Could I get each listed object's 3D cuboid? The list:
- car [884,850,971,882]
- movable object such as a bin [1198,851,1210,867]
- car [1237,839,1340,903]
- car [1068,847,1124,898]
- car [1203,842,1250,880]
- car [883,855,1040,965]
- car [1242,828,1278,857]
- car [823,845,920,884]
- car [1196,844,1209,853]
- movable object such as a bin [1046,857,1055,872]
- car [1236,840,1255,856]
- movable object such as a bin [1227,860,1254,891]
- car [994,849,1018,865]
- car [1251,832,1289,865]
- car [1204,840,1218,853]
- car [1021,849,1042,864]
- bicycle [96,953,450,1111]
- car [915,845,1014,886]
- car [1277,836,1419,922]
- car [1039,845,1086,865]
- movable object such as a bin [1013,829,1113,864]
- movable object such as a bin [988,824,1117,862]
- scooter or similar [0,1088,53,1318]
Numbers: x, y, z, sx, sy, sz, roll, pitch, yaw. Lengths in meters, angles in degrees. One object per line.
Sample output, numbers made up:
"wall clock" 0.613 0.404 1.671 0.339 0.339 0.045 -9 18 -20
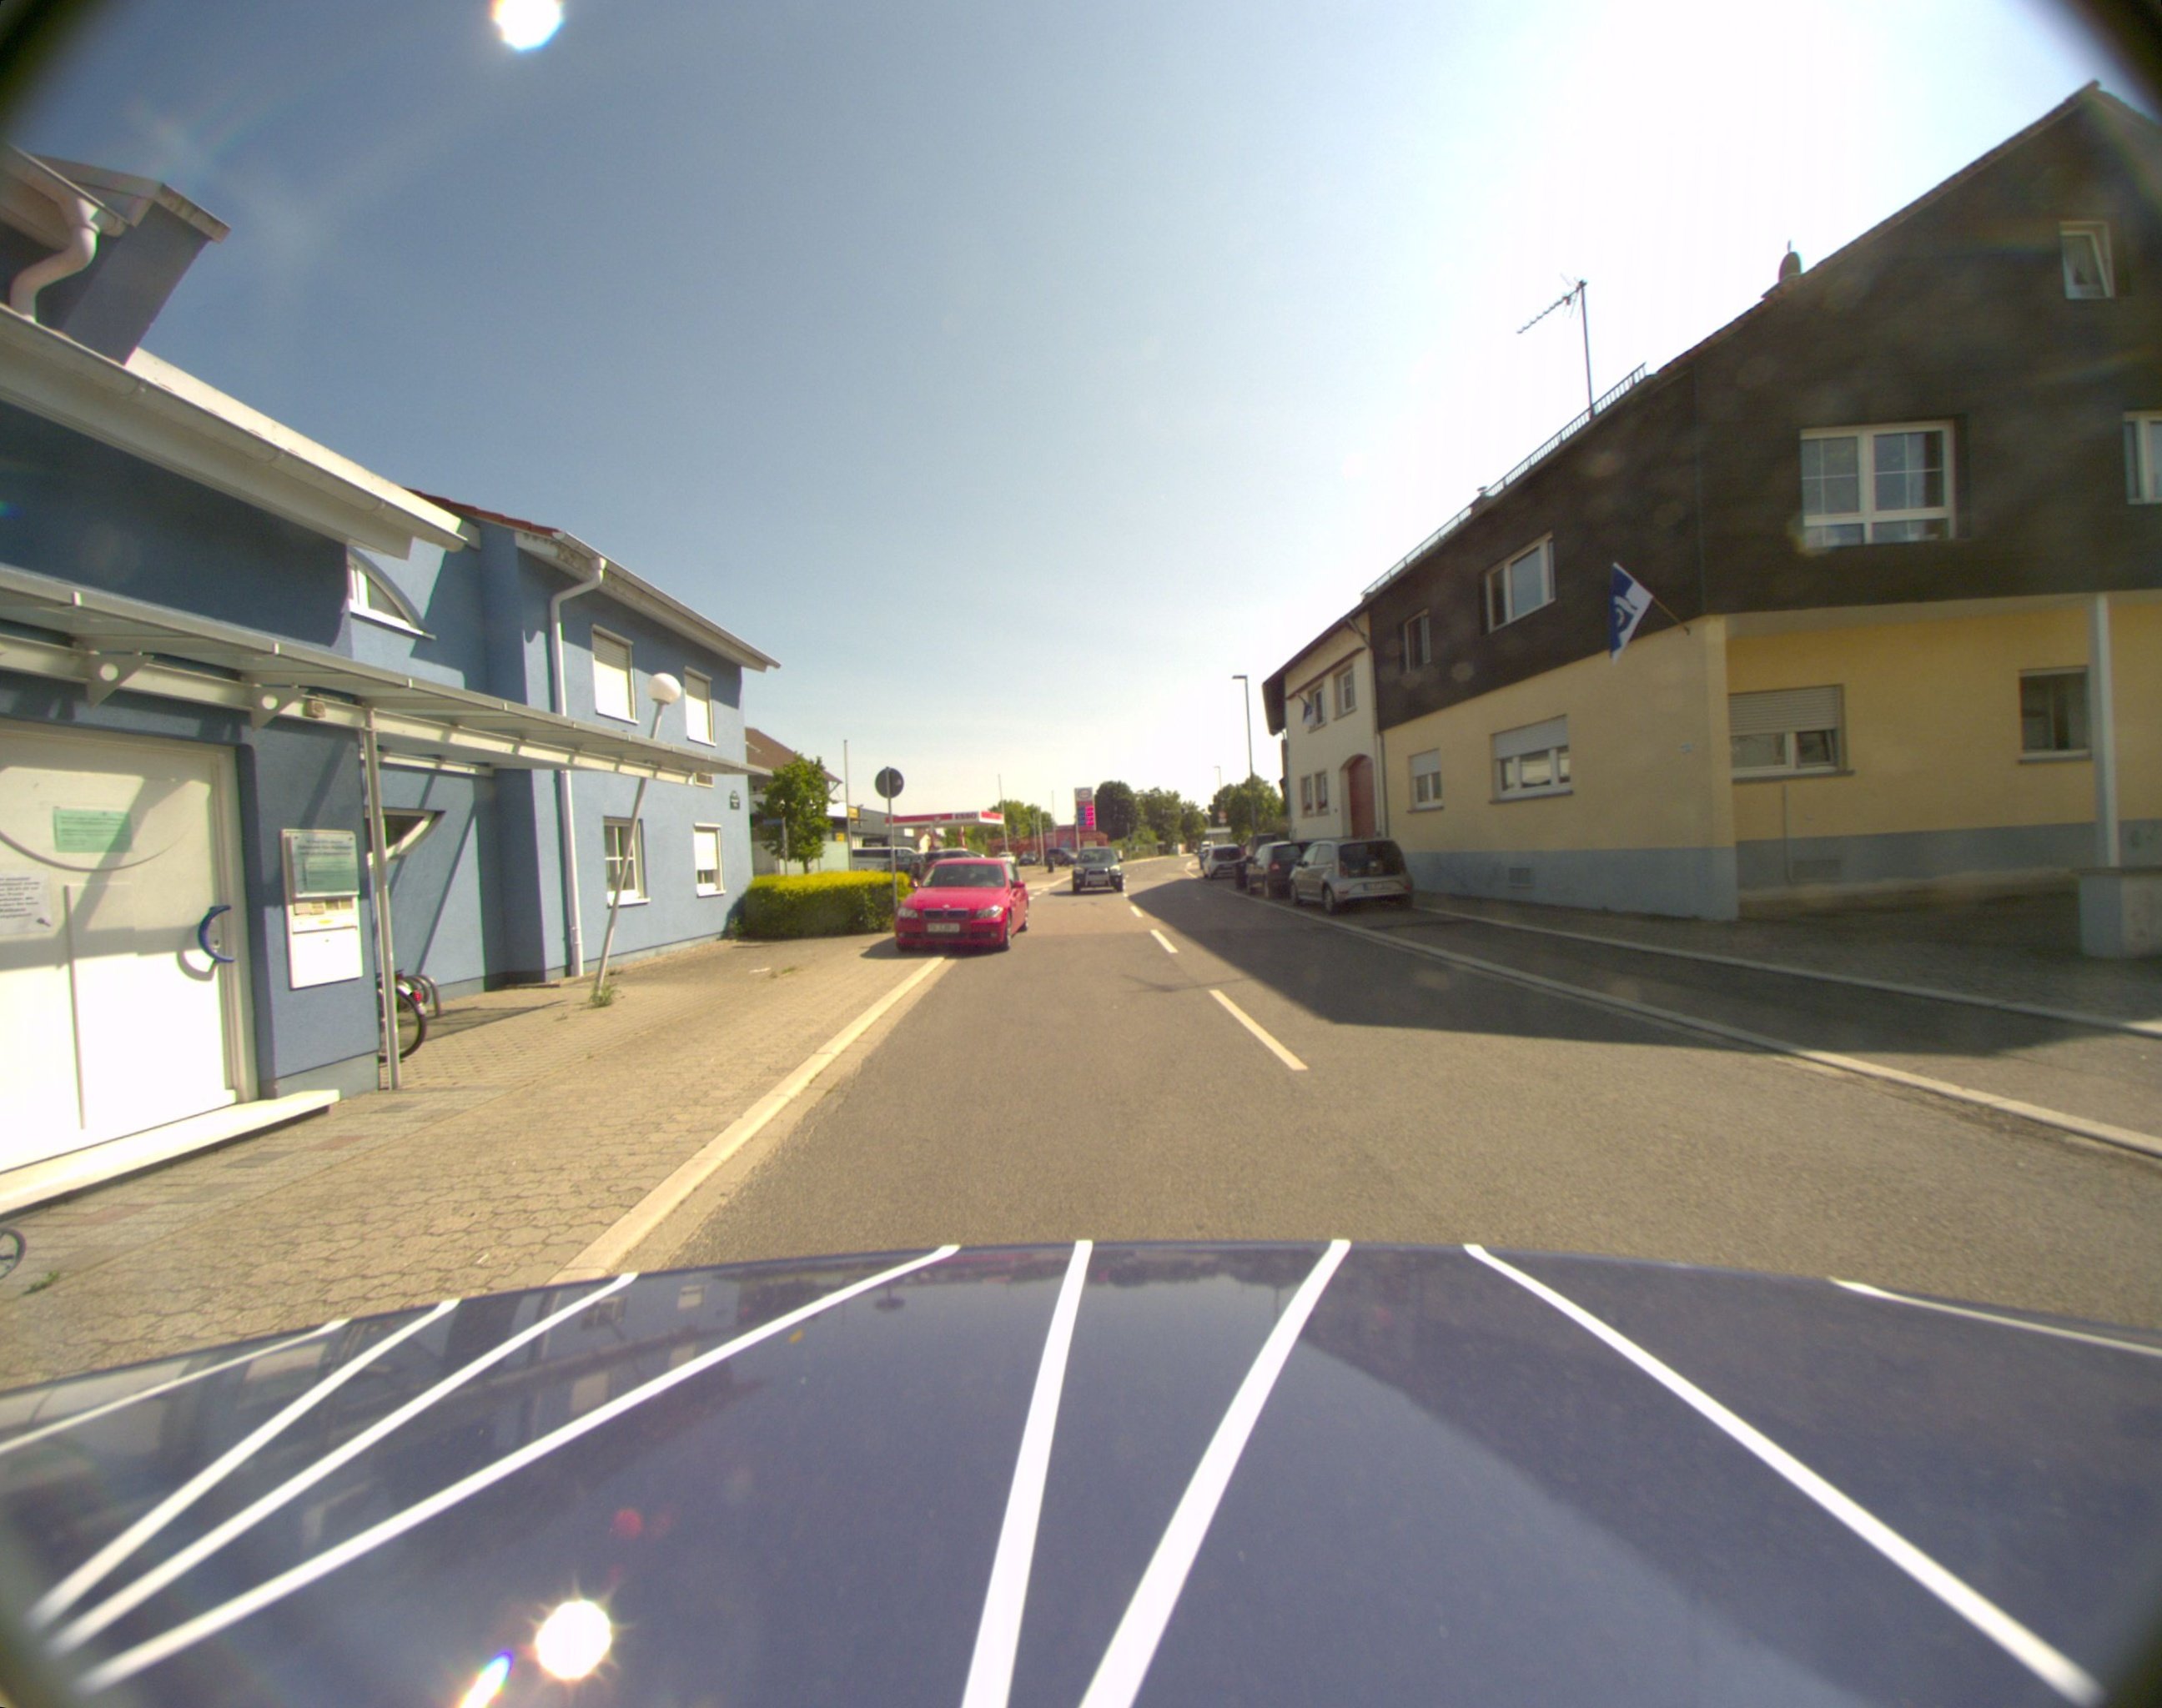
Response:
"car" -8.538 0.652 42.255 4.323 1.542 1.980 -3 1 -27
"movable object such as a bin" 7.544 0.288 46.670 0.559 0.931 0.514 -5 1 -1
"car" 5.580 0.392 20.939 1.682 1.429 3.995 -6 1 1
"car" 0.598 0.614 27.446 1.848 1.686 4.399 0 0 2
"car" 6.437 0.274 33.939 1.687 1.453 3.650 -4 1 6
"car" -1.863 0.817 13.231 1.736 1.486 4.355 -1 1 4
"car" 14.249 -0.941 60.633 2.130 1.975 5.267 -8 0 9
"car" -12.315 0.585 44.708 5.289 2.002 2.228 -3 1 -17
"car" 22.721 -1.042 141.897 1.844 1.583 4.110 -2 1 16
"movable object such as a bin" -1.998 0.658 49.558 0.559 0.931 0.514 -3 1 -1
"car" 16.614 -0.628 76.696 1.717 1.444 3.918 -4 -1 11
"movable object such as a bin" 5.237 0.701 24.921 0.553 0.923 0.825 -7 1 -5
"car" -8.535 0.325 87.145 2.003 1.583 4.339 -3 1 3
"car" 11.827 -0.370 47.391 1.839 1.782 4.347 -6 0 18
"car" 26.216 -1.587 152.981 1.936 2.488 5.843 -2 1 16
"car" -5.617 0.234 86.793 1.845 1.583 4.106 -3 1 3
"bicycle" -6.072 1.326 5.784 1.959 0.975 0.656 -2 1 1
"car" -5.414 0.503 35.294 4.119 1.644 1.827 -3 1 -28
"car" 5.542 0.443 16.266 1.644 1.492 3.781 -5 1 1
"car" -1.639 0.079 66.032 1.778 1.546 4.171 -4 1 -42
"movable object such as a bin" -2.493 -1.062 105.013 13.278 4.141 2.864 -3 1 9
"movable object such as a bin" -3.618 -1.313 96.687 16.081 3.995 2.775 -3 1 9
"scooter or similar" -4.383 1.327 2.534 0.729 0.810 0.827 -3 1 3
